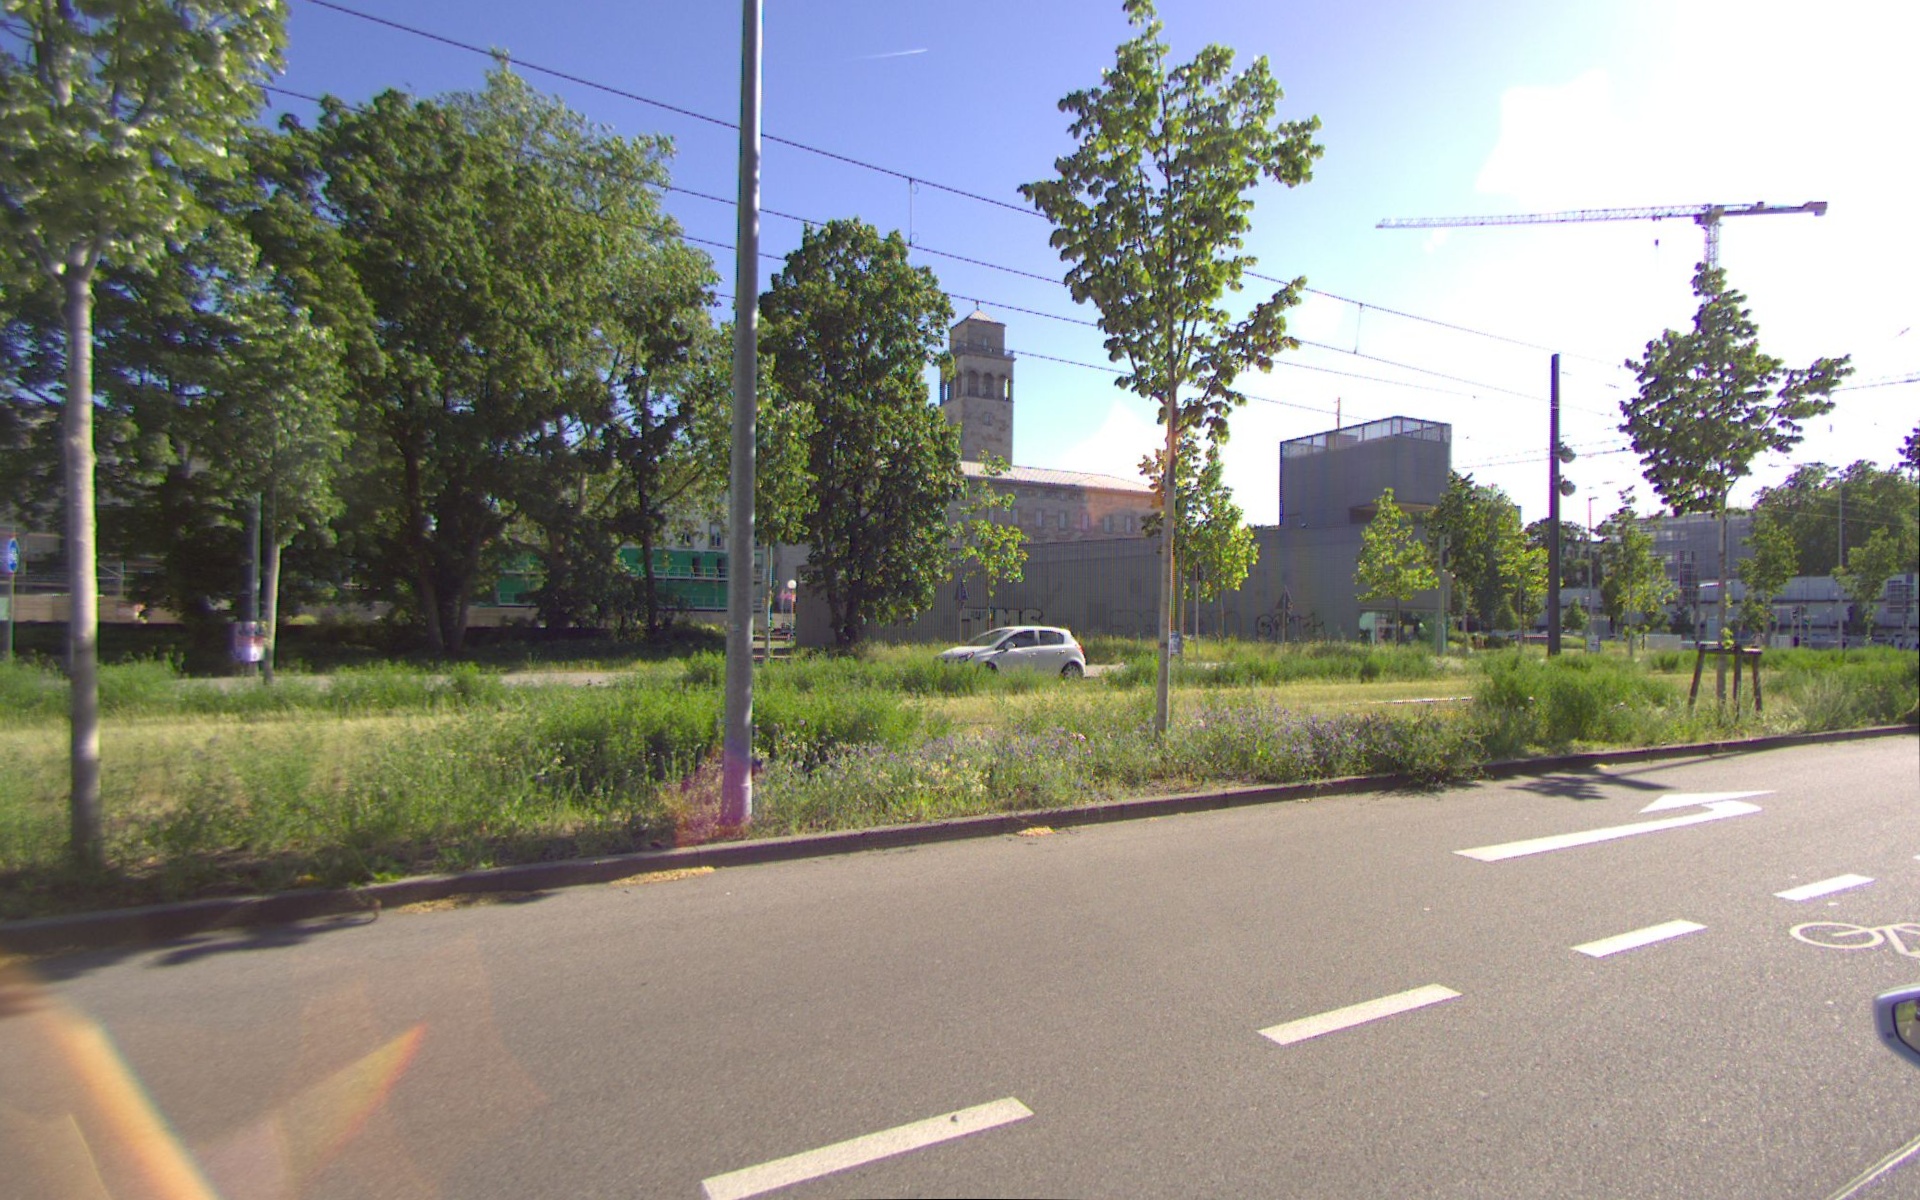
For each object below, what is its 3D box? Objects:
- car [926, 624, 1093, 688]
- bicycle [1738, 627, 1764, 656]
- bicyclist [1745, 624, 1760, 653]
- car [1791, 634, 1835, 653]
[{"bbox_3d":[1.220,1.307,24.256,3.789,1.416,1.624,1,-1,-31],"label":"car"},{"bbox_3d":[41.317,2.153,52.451,1.890,1.475,0.358,1,0,-29],"label":"bicycle"},{"bbox_3d":[41.397,2.001,52.453,0.533,1.474,0.392,1,1,-30],"label":"bicyclist"},{"bbox_3d":[77.053,3.933,90.757,3.952,1.577,1.703,3,0,-29],"label":"car"}]
